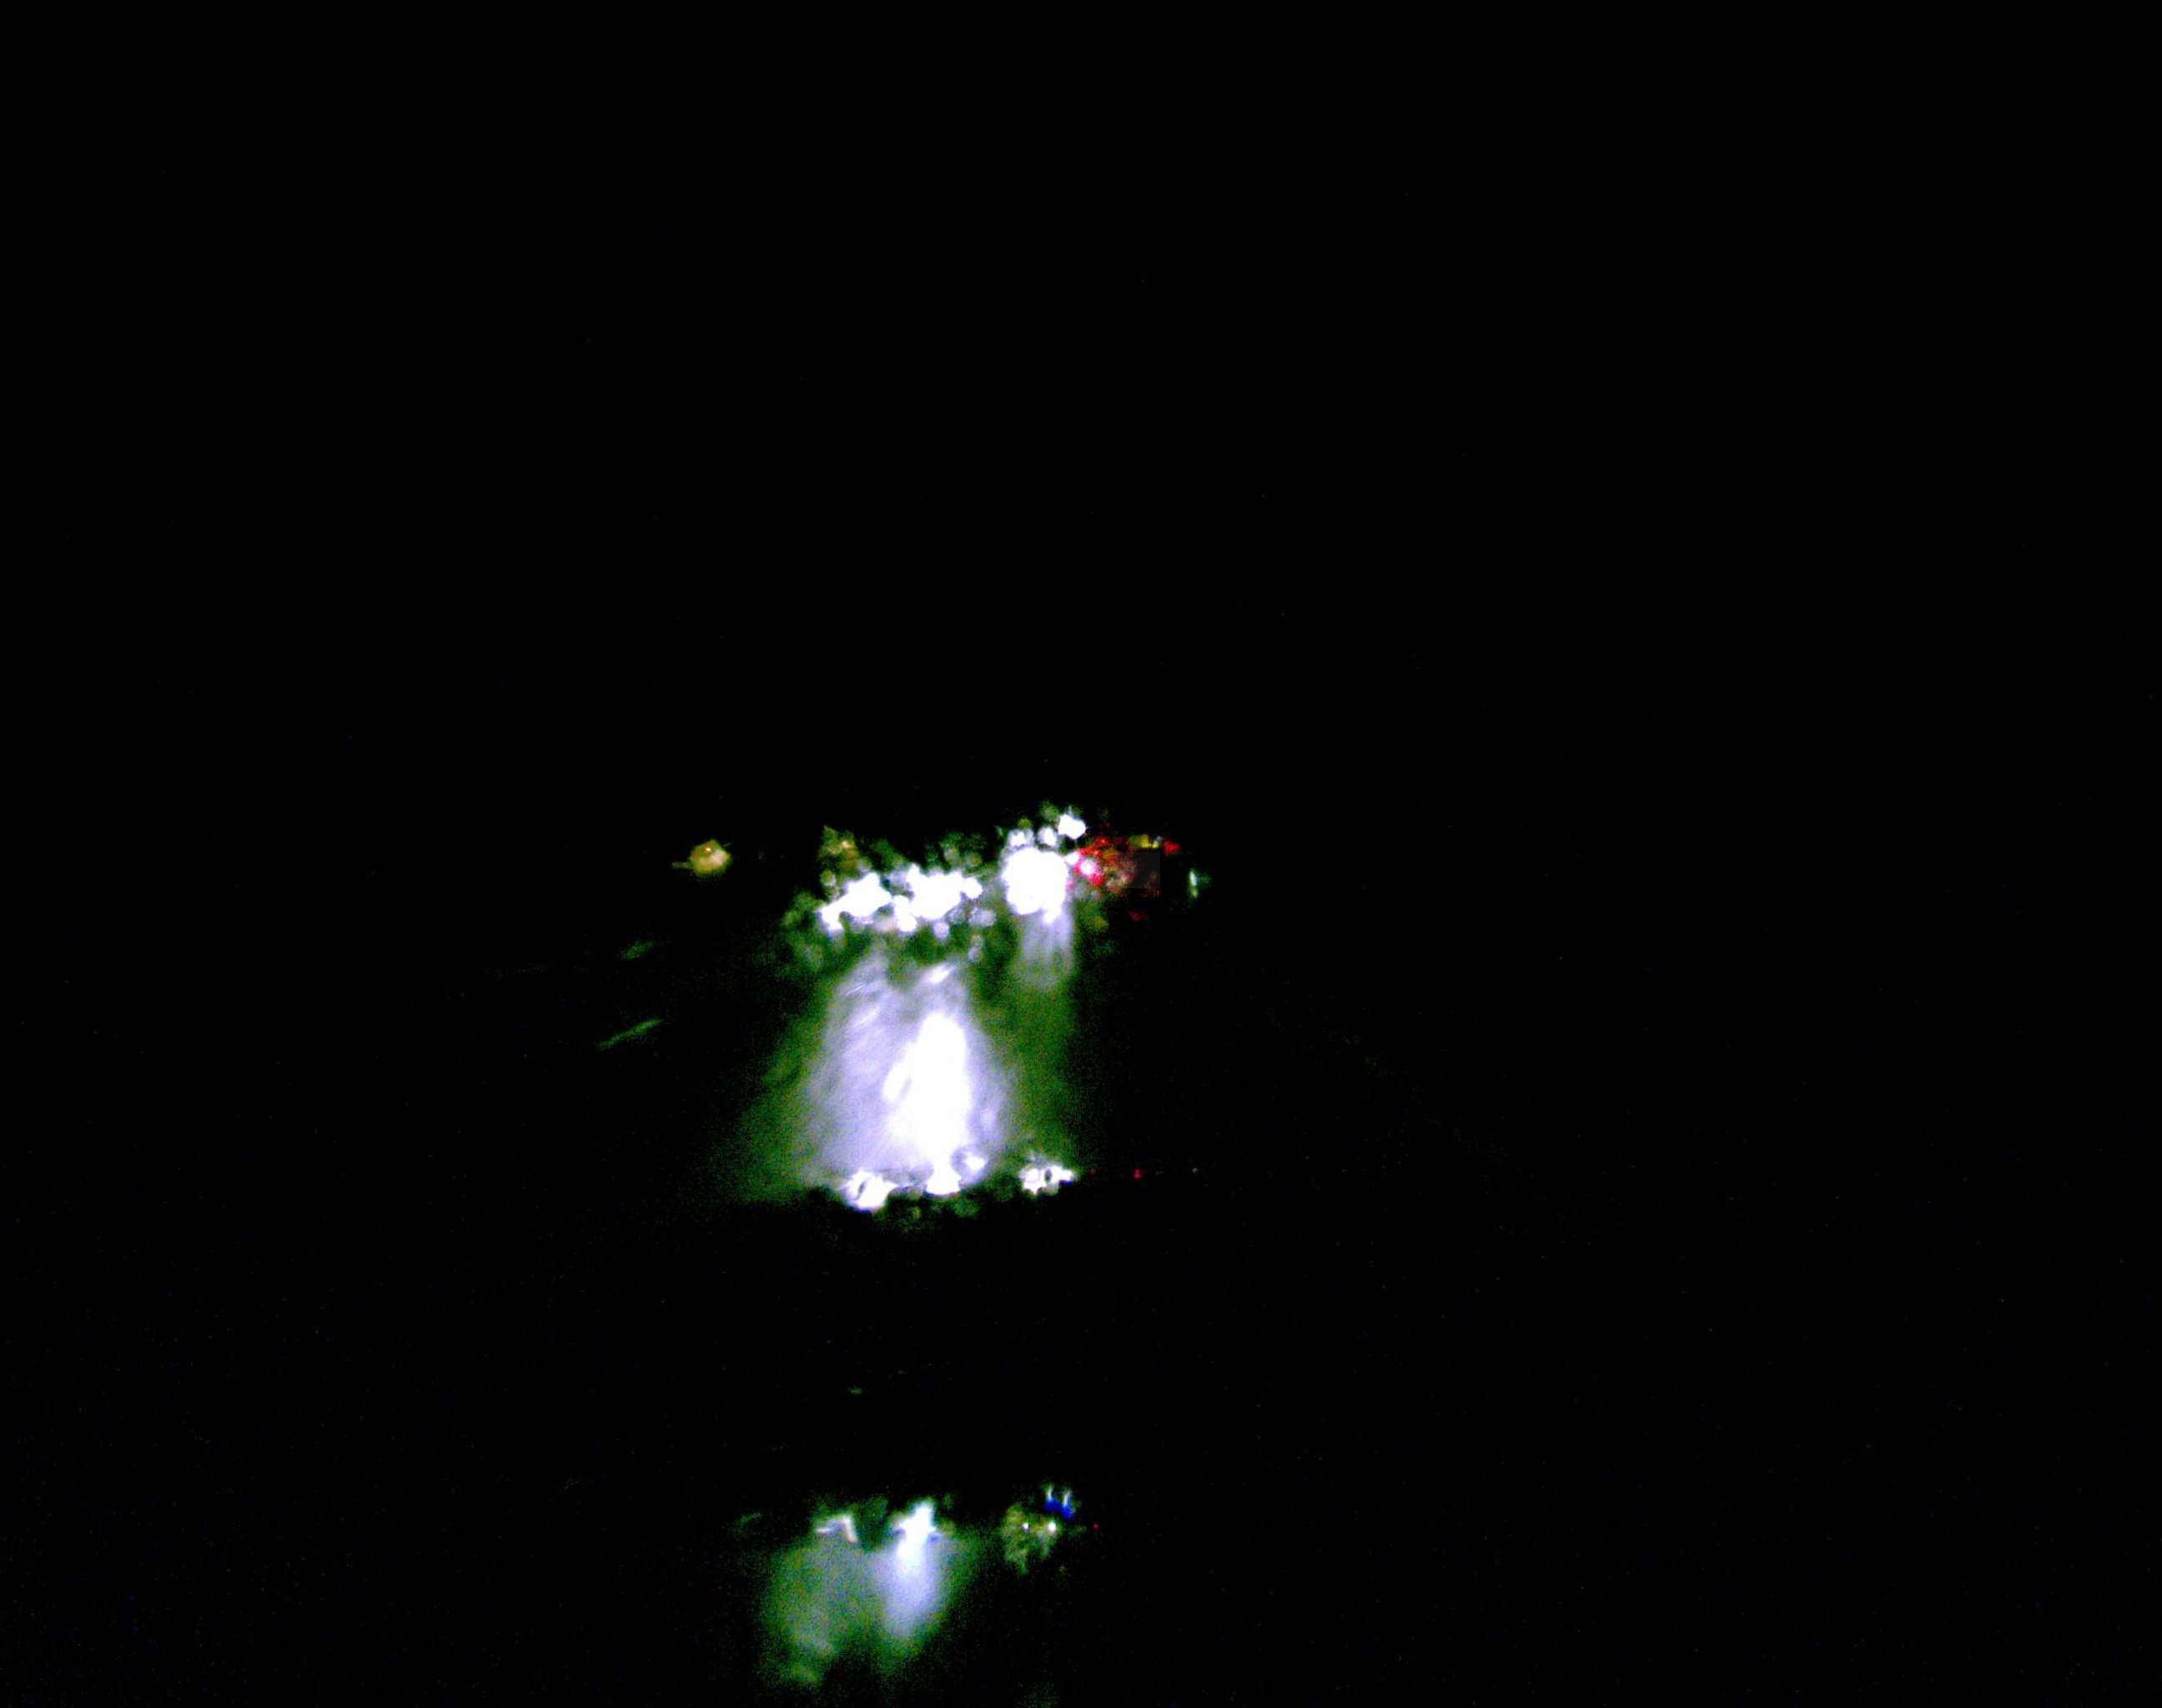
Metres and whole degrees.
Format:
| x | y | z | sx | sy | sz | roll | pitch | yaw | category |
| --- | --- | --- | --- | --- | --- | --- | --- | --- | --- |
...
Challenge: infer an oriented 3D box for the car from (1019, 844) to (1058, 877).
| x | y | z | sx | sy | sz | roll | pitch | yaw | category |
| --- | --- | --- | --- | --- | --- | --- | --- | --- | --- |
| -2.495 | 0.341 | 48.662 | 1.848 | 1.683 | 4.327 | -4 | 1 | 1 | car |

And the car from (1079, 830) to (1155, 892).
| x | y | z | sx | sy | sz | roll | pitch | yaw | category |
| --- | --- | --- | --- | --- | --- | --- | --- | --- | --- |
| 1.212 | 0.254 | 29.442 | 2.450 | 1.958 | 4.911 | -2 | -1 | 0 | car |

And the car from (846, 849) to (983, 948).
| x | y | z | sx | sy | sz | roll | pitch | yaw | category |
| --- | --- | --- | --- | --- | --- | --- | --- | --- | --- |
| -3.051 | 0.751 | 15.735 | 1.789 | 1.538 | 3.800 | -4 | 0 | -1 | car |
